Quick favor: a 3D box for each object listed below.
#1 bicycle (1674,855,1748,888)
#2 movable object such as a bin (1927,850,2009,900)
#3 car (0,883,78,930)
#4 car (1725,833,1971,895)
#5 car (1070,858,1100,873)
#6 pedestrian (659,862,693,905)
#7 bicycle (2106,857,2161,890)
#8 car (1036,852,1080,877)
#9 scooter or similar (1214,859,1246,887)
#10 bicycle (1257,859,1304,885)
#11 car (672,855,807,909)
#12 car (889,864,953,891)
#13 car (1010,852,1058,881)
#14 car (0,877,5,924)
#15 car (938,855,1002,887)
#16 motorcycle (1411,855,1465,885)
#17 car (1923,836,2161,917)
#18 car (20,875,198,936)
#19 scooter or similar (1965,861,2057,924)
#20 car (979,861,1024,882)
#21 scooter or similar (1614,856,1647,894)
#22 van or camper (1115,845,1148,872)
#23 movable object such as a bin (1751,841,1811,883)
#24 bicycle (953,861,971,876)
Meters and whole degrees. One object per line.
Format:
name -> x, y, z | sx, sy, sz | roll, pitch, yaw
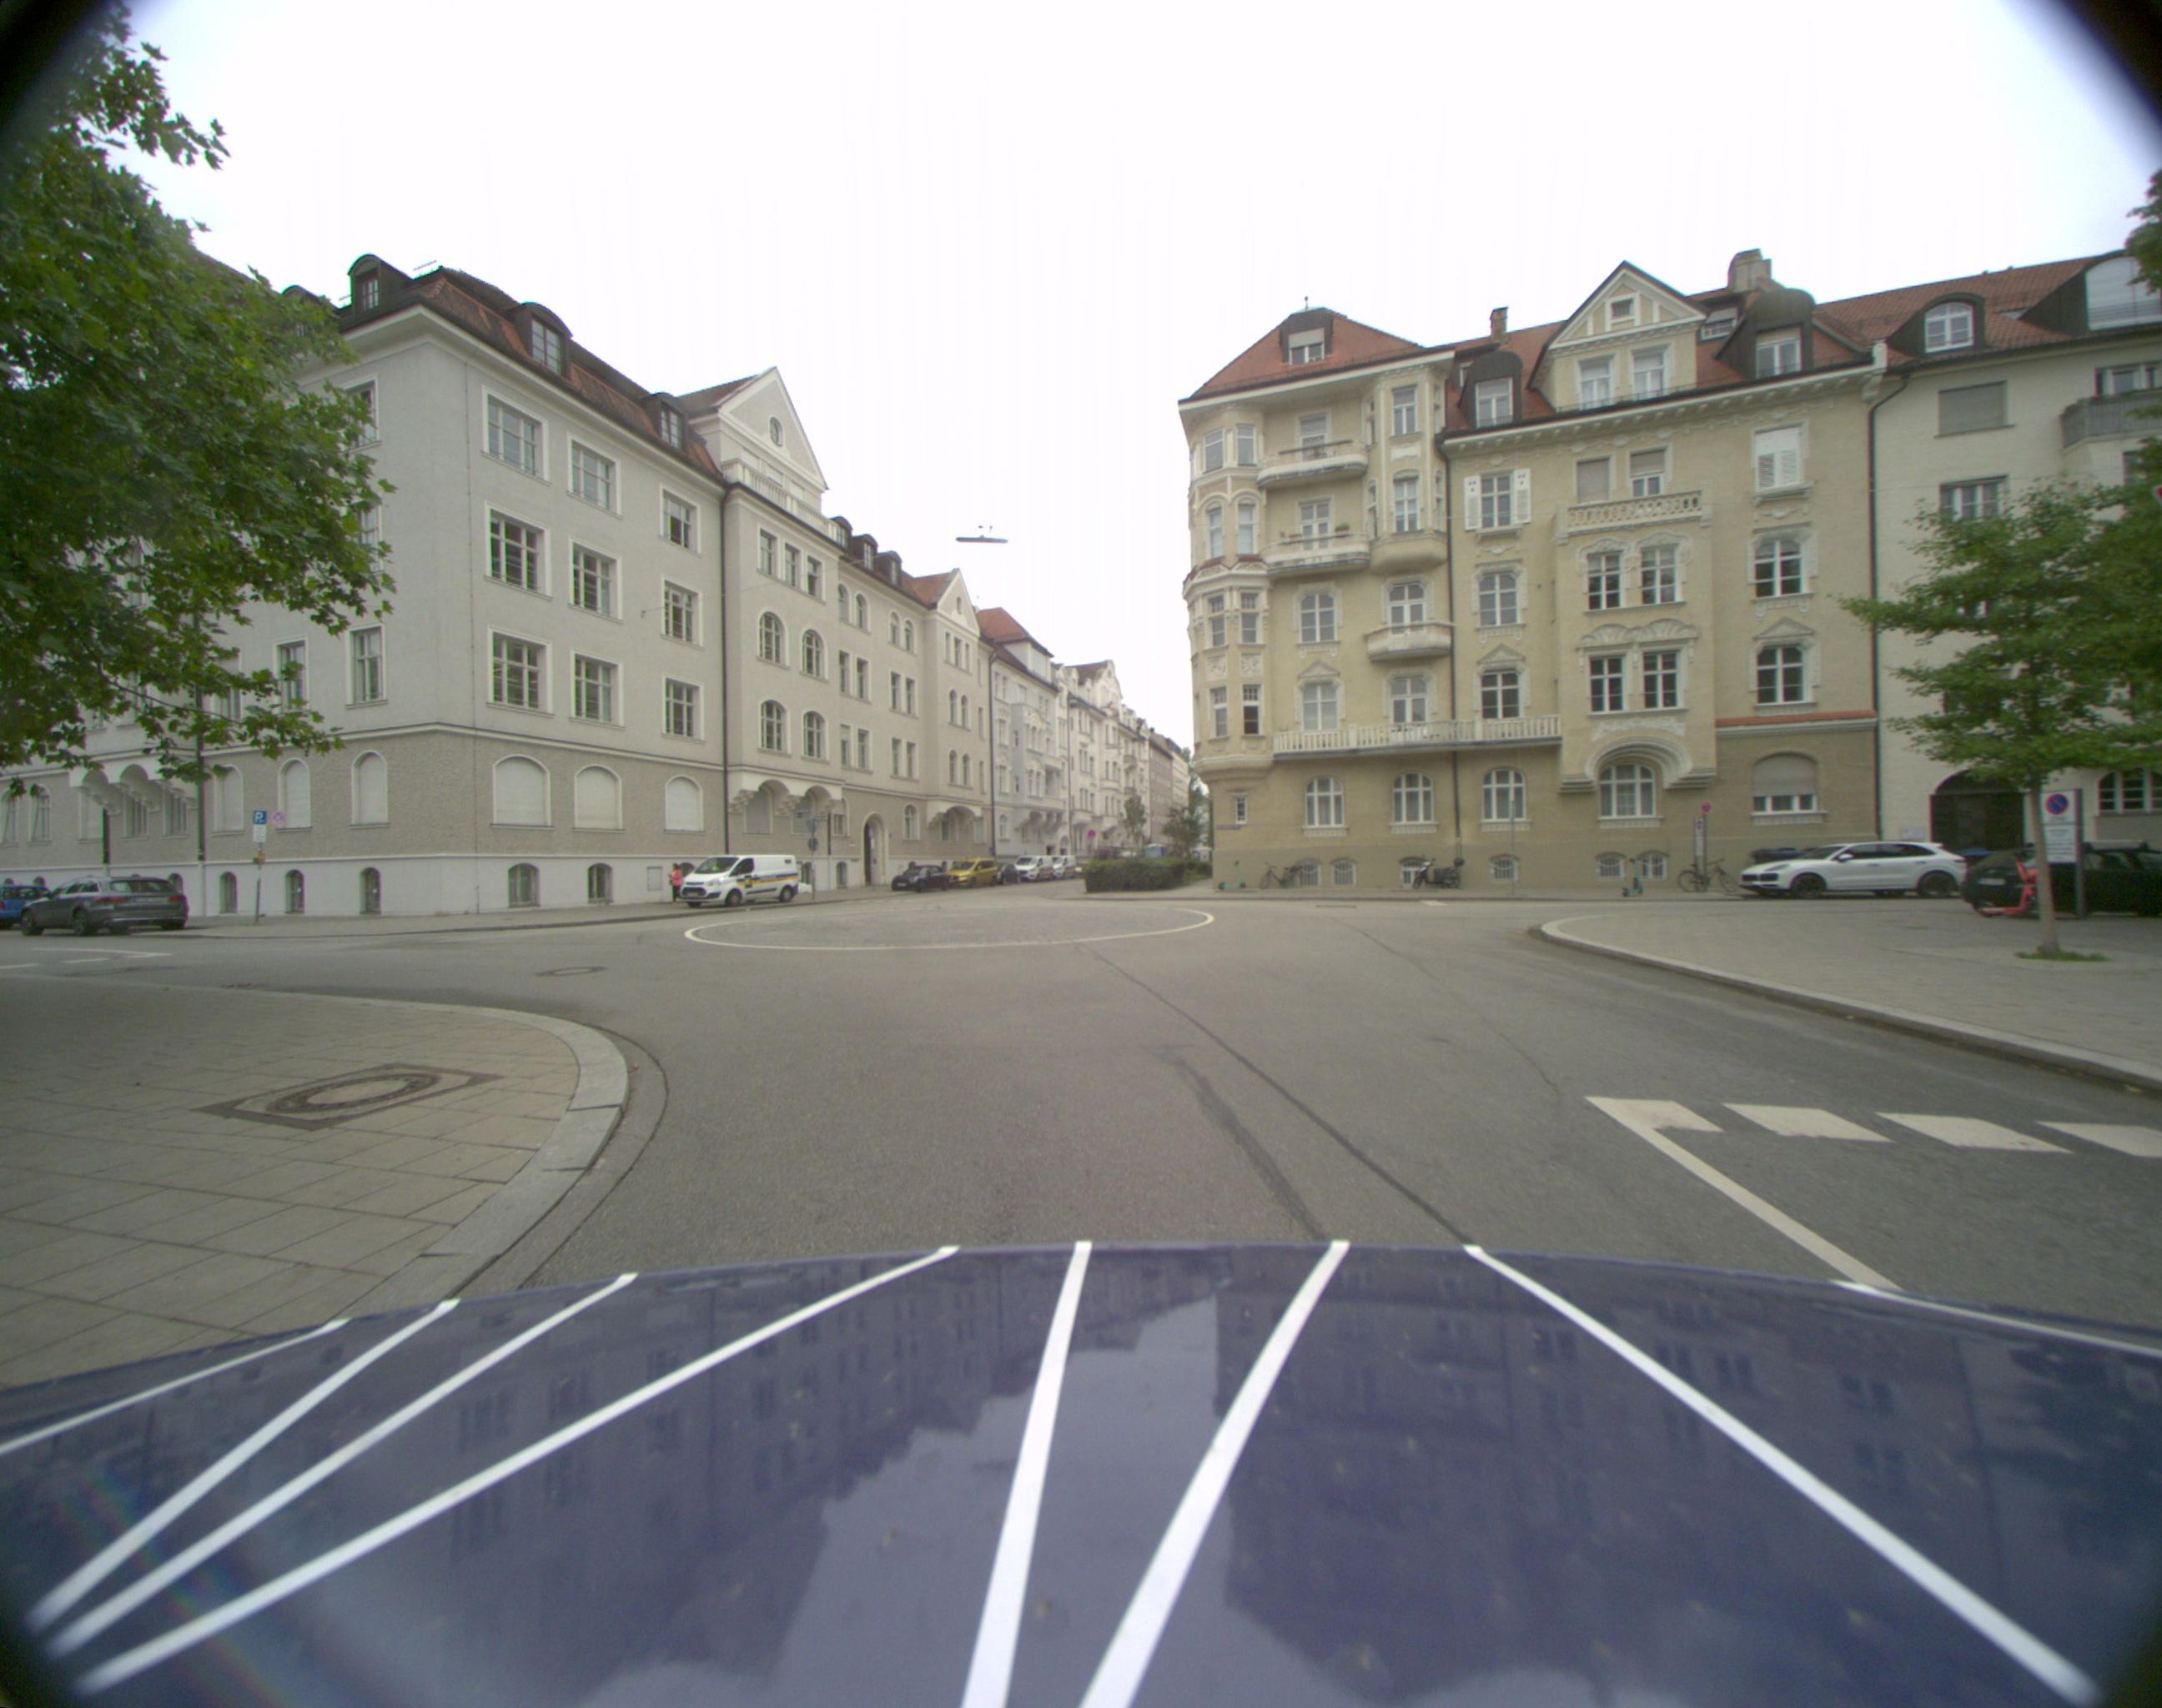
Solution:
bicycle -> 21.024, 0.585, 25.376 | 1.827, 1.043, 0.565 | -1, 0, 16
movable object such as a bin -> 26.062, 0.611, 22.348 | 1.171, 1.417, 1.096 | -1, 0, 18
car -> -34.775, 1.670, 24.407 | 3.656, 1.406, 1.699 | -1, -1, 13
car -> 22.682, 0.295, 22.725 | 4.831, 1.691, 1.984 | -1, 1, 16
car -> 0.386, 1.020, 68.204 | 1.694, 1.338, 3.544 | -1, 0, 18
pedestrian -> -15.777, 1.149, 29.615 | 0.731, 1.626, 0.857 | -1, 0, 19
bicycle -> 33.958, 0.612, 24.059 | 1.827, 1.043, 0.565 | -1, 0, 16
car -> -1.839, 0.860, 62.895 | 2.120, 1.982, 4.829 | -1, 0, 17
scooter or similar -> 6.258, 0.784, 31.926 | 1.216, 1.109, 0.467 | -1, 1, -16
bicycle -> 8.290, 0.758, 31.585 | 1.827, 1.043, 0.565 | -1, 0, 16
car -> -13.024, 1.008, 29.379 | 1.921, 1.869, 4.917 | -1, 0, 17
car -> -8.621, 1.264, 41.224 | 1.694, 1.338, 3.685 | -1, 0, 19
car -> -3.479, 0.900, 56.995 | 2.120, 2.079, 4.828 | -1, 0, 15
car -> -39.210, 1.621, 25.889 | 4.486, 1.592, 1.755 | -1, -1, 19
car -> -6.695, 0.987, 46.305 | 2.022, 1.828, 4.142 | -1, 0, 21
motorcycle -> 13.980, 0.628, 29.760 | 1.827, 1.169, 0.601 | -1, 0, 16
car -> 20.147, 0.430, 15.043 | 4.415, 1.496, 1.827 | -1, -1, 11
car -> -27.822, 1.435, 21.759 | 4.486, 1.592, 1.755 | -1, -1, 19
scooter or similar -> 16.934, 0.675, 13.861 | 0.391, 1.082, 1.001 | -1, 1, -11
car -> -5.298, 1.179, 51.199 | 1.694, 1.338, 3.544 | -1, 0, 18
scooter or similar -> 17.836, 0.655, 24.645 | 1.217, 1.186, 0.466 | -2, 1, -34
van or camper -> 5.821, 0.438, 86.732 | 1.995, 2.897, 6.446 | 0, 1, 20
movable object such as a bin -> 24.227, 0.269, 26.339 | 1.171, 1.417, 1.096 | -1, 0, 18
bicycle -> -8.635, 1.068, 55.247 | 0.490, 1.043, 1.833 | -1, 0, 20
